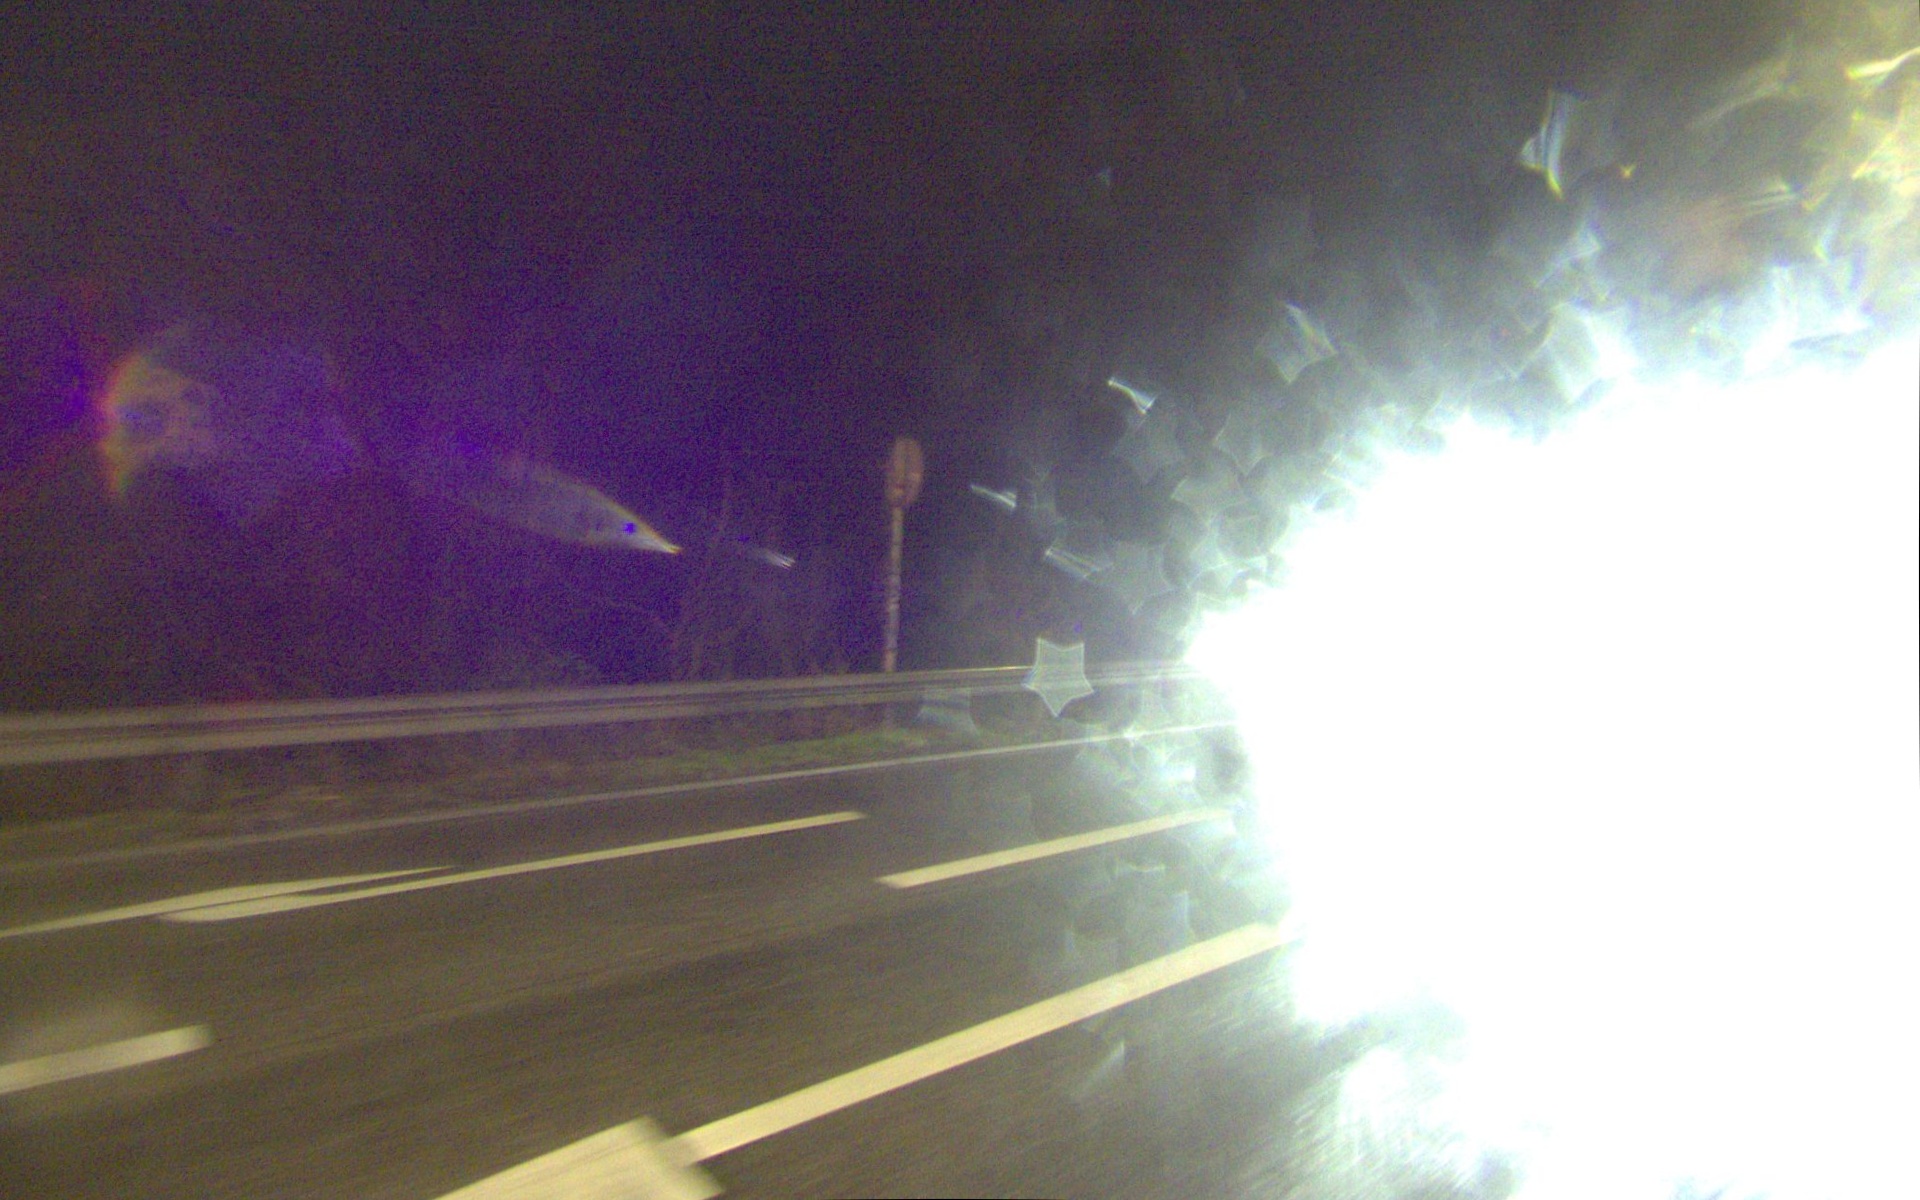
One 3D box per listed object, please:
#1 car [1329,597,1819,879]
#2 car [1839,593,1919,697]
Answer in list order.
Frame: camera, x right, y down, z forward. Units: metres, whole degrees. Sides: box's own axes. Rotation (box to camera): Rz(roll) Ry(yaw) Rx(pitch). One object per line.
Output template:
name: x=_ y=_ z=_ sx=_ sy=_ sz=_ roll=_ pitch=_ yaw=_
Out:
car: x=4.734 y=0.725 z=7.472 sx=4.642 sy=1.467 sz=1.734 roll=0 pitch=-1 yaw=-41
car: x=15.702 y=0.644 z=16.098 sx=4.485 sy=1.503 sz=1.826 roll=0 pitch=0 yaw=-39
